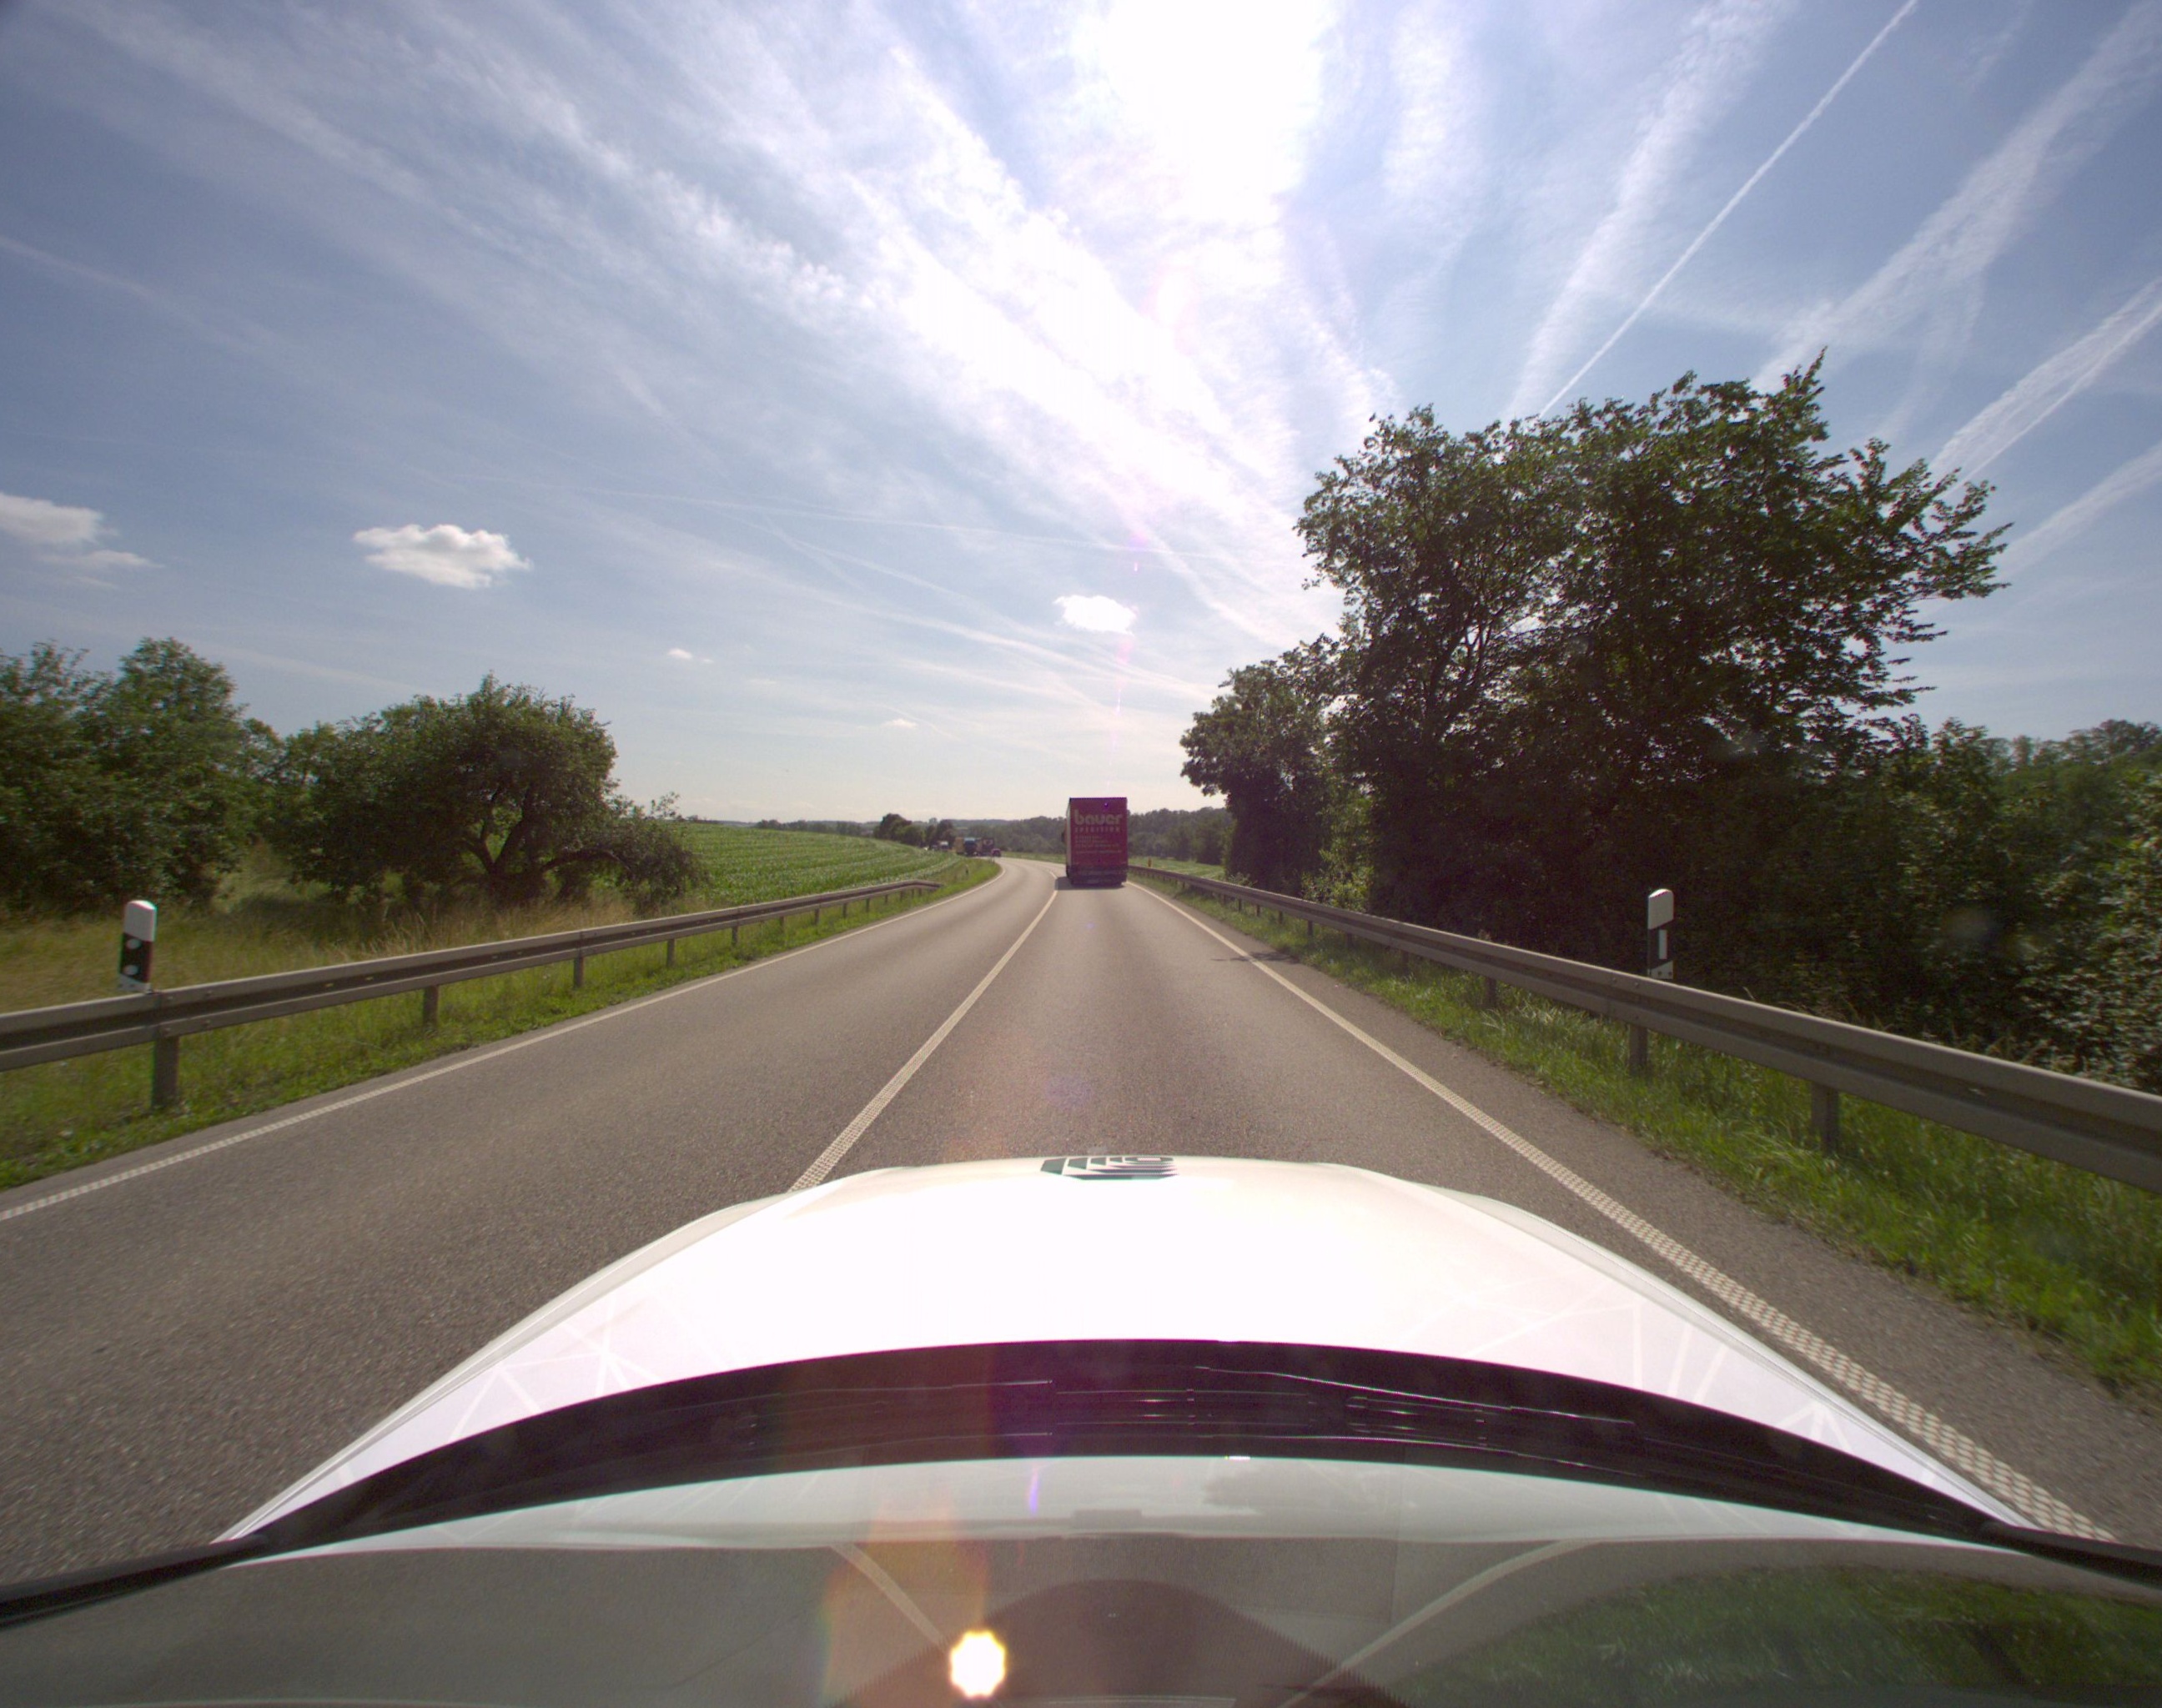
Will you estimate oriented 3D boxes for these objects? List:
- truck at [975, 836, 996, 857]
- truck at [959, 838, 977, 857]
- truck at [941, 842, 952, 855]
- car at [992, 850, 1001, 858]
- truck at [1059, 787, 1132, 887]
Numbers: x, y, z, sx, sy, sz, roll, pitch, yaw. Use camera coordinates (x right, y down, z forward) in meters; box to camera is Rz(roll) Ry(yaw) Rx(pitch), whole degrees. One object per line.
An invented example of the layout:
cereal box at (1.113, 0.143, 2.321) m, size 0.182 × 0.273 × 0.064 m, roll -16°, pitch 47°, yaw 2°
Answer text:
truck at (-21.407, -1.609, 182.613) m, size 3.642 × 4.292 × 11.937 m, roll -1°, pitch 0°, yaw -11°
truck at (-24.962, -1.444, 179.211) m, size 2.772 × 3.998 × 16.962 m, roll 0°, pitch 0°, yaw -11°
truck at (-37.992, -1.558, 229.192) m, size 2.743 × 3.578 × 9.689 m, roll 0°, pitch 0°, yaw -11°
car at (-16.829, -0.053, 162.824) m, size 1.581 × 1.501 × 3.864 m, roll 0°, pitch 0°, yaw -9°
truck at (0.661, -0.733, 39.414) m, size 3.084 × 4.262 × 8.313 m, roll -1°, pitch 0°, yaw 0°
